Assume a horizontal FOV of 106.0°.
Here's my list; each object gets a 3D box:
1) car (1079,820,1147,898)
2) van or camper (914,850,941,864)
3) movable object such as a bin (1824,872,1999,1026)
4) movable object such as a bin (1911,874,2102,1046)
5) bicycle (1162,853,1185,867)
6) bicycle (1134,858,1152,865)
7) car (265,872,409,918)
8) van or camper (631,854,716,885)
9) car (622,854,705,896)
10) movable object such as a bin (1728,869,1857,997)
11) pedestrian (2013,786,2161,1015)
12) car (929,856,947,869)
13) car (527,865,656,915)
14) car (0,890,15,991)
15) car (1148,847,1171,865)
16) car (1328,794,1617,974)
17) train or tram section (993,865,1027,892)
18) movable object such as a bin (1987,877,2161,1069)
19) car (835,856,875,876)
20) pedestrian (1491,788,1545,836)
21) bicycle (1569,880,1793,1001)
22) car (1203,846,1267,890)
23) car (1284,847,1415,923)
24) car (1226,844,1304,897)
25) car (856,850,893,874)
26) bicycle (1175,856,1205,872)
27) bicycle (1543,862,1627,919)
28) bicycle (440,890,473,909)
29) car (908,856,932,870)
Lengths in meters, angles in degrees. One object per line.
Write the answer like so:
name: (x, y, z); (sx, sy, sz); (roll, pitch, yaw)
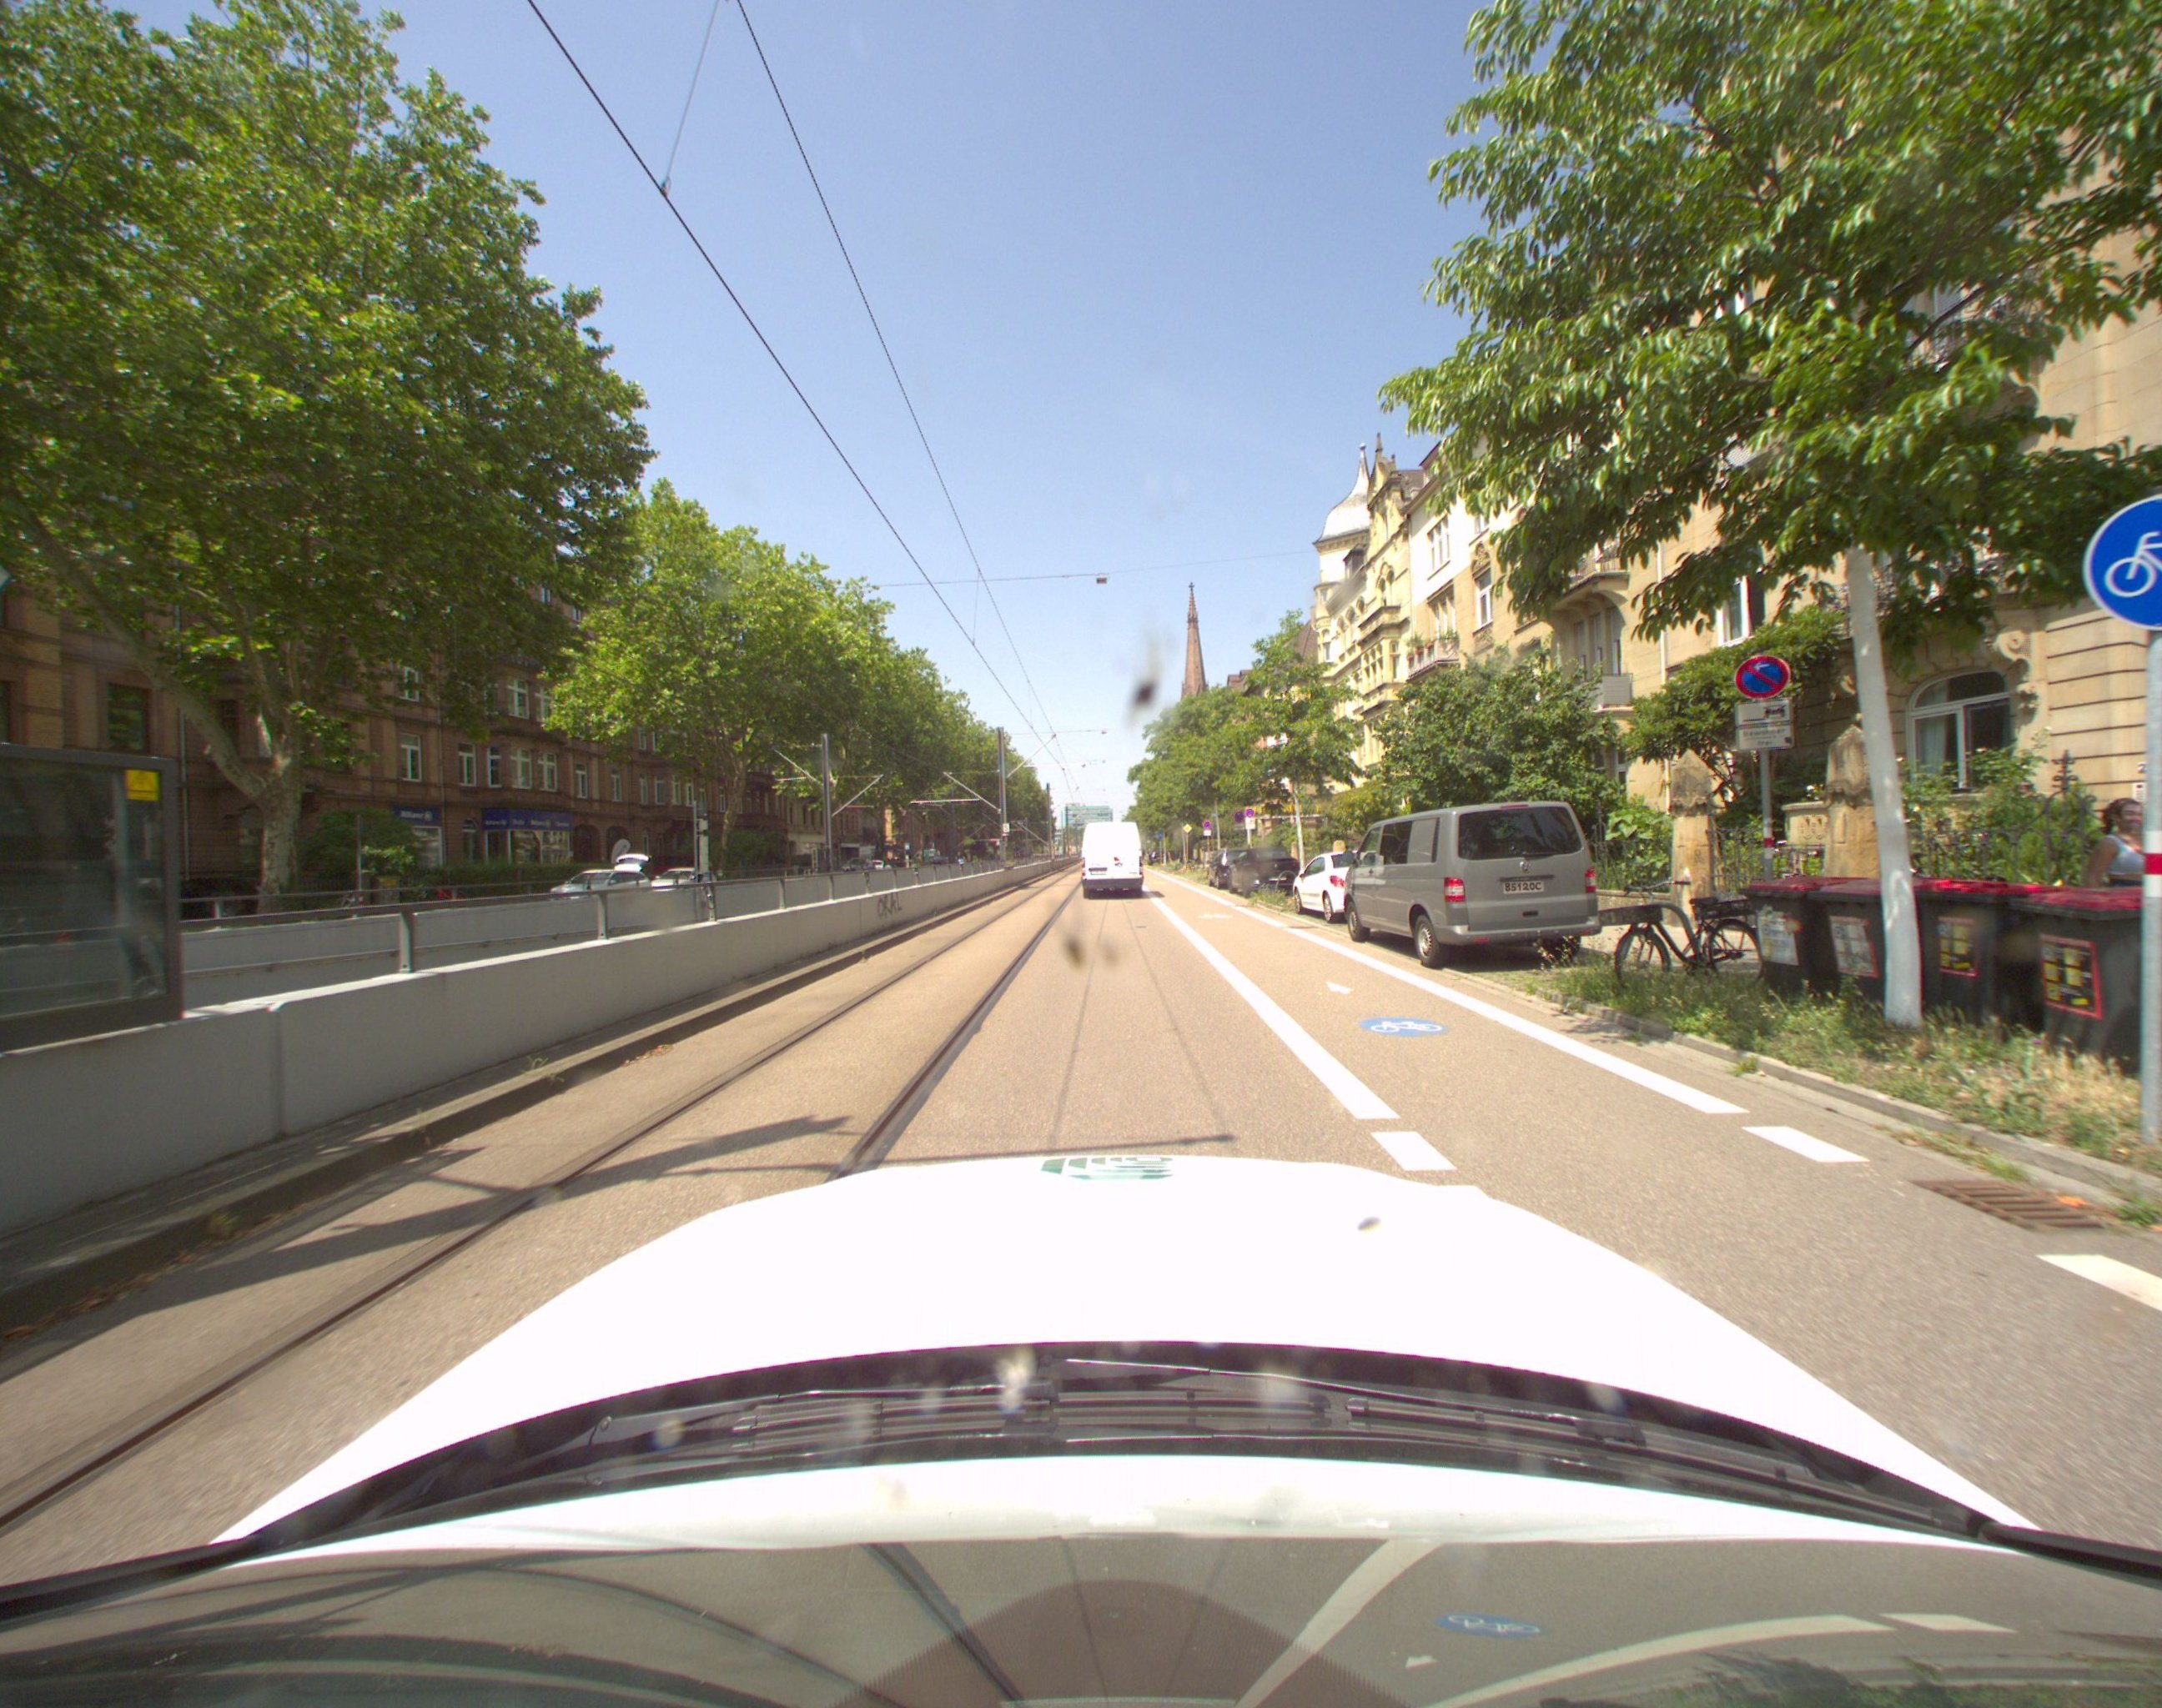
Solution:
car: (1.088, 0.164, 28.760); (2.109, 2.459, 5.055); (-1, 0, 1)
van or camper: (-24.552, 0.486, 130.454); (3.975, 2.013, 1.999); (-2, 0, -1)
movable object such as a bin: (6.092, 0.680, 6.006); (0.742, 1.062, 0.497); (-1, 0, 7)
movable object such as a bin: (6.121, 0.682, 5.416); (0.665, 1.062, 0.497); (-1, 0, 7)
bicycle: (8.130, 0.529, 71.610); (1.881, 1.182, 0.640); (-2, 0, -1)
bicycle: (7.790, 0.923, 101.711); (1.548, 0.826, 4.016); (-1, 0, 15)
car: (-26.365, 1.419, 28.937); (3.473, 1.425, 1.651); (-2, 0, -3)
van or camper: (-26.555, 0.985, 53.140); (4.519, 1.836, 1.936); (-2, 0, 7)
car: (-18.389, 0.885, 36.060); (1.648, 1.684, 3.708); (-1, 0, 1)
movable object such as a bin: (6.053, 0.651, 6.948); (0.595, 1.011, 0.564); (-1, 0, -8)
pedestrian: (7.635, 0.322, 6.055); (0.549, 1.598, 0.728); (-1, 0, 4)
car: (-16.629, 0.974, 95.029); (1.368, 1.423, 3.090); (-2, 0, 2)
car: (-18.509, 1.299, 31.128); (1.987, 1.624, 4.719); (-1, 0, 1)
car: (-17.733, 1.376, 10.932); (1.536, 1.561, 3.884); (-1, 0, 5)
car: (7.769, 0.164, 81.073); (2.147, 1.670, 4.004); (-1, 0, 4)
car: (5.192, 0.328, 11.696); (1.872, 1.947, 4.838); (-3, 0, 2)
train or tram section: (-7.240, 2.457, 84.416); (2.720, 2.508, 8.516); (-1, 0, 0)
movable object such as a bin: (6.037, 0.658, 4.735); (0.783, 1.014, 0.651); (-1, 0, 8)
car: (-17.476, 0.891, 63.184); (1.845, 1.401, 4.198); (-1, 0, 1)
pedestrian: (10.066, -0.957, 18.782); (0.861, 1.070, 0.762); (-1, 0, 5)
bicycle: (5.545, 0.773, 7.545); (1.880, 0.991, 0.469); (-2, 0, -9)
car: (5.955, 0.505, 31.929); (1.723, 1.536, 4.405); (-1, 0, 1)
car: (5.680, 0.584, 17.712); (1.605, 1.405, 4.002); (-2, 0, 2)
car: (5.834, 0.485, 26.229); (1.661, 1.530, 4.015); (-2, 0, 2)
car: (-17.340, 0.653, 68.529); (1.987, 1.904, 4.149); (-1, 0, 1)
bicycle: (6.841, 0.613, 51.178); (1.834, 0.953, 0.503); (-2, 0, 3)
bicycle: (8.548, 0.586, 13.875); (0.438, 0.880, 1.635); (-2, 0, 1)
bicycle: (-24.902, 1.800, 32.505); (0.279, 0.650, 1.344); (-2, 0, 0)
car: (-17.180, 0.934, 87.004); (1.586, 1.448, 4.002); (-1, 0, 2)
